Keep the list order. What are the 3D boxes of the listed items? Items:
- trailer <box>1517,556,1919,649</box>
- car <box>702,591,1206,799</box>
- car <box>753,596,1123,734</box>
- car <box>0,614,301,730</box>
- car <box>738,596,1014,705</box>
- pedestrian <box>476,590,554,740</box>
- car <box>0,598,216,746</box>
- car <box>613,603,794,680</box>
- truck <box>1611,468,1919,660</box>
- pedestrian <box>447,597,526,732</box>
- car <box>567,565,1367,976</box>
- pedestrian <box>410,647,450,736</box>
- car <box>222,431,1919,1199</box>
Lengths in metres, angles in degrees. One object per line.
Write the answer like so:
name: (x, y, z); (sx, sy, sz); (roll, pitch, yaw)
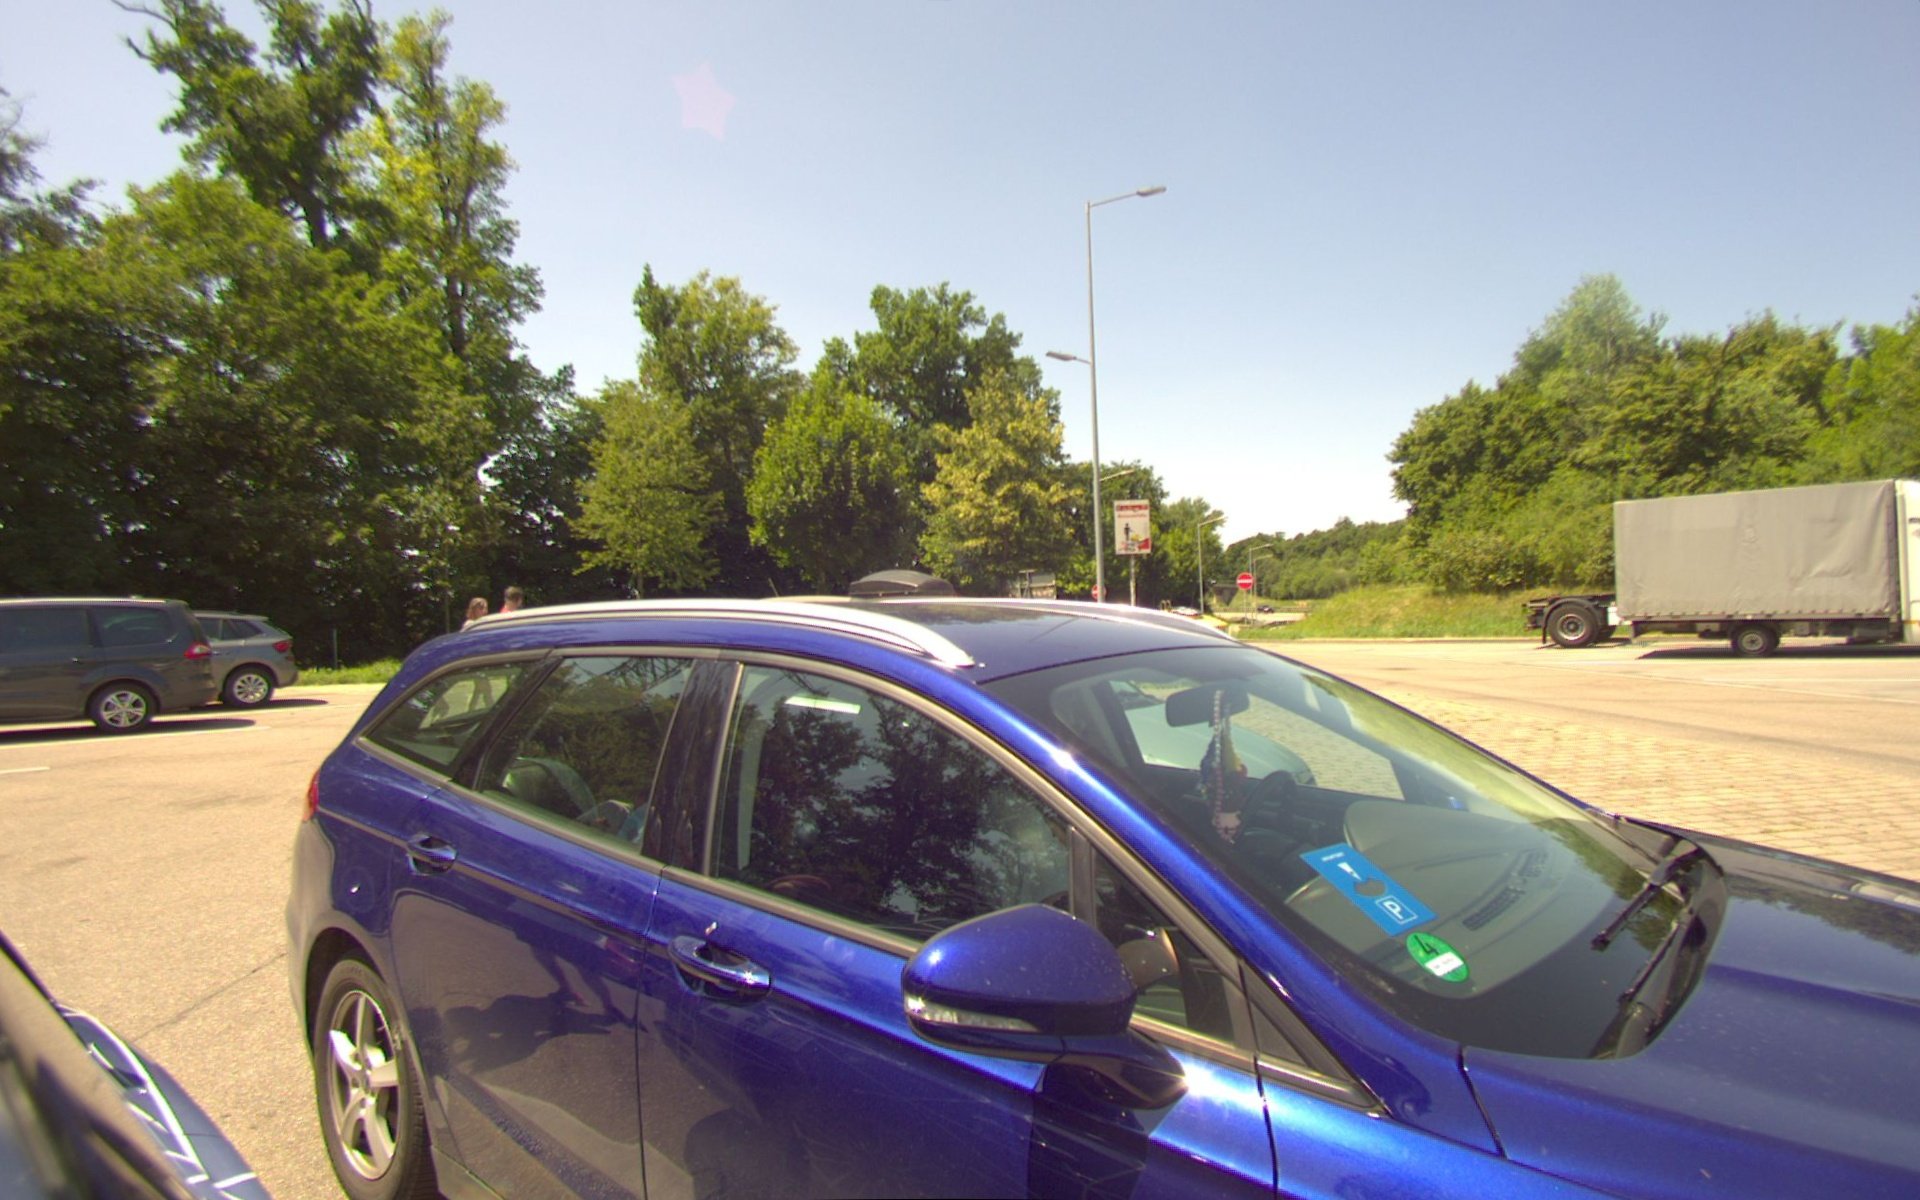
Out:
trailer: (17.254, 0.138, 23.398); (7.295, 1.701, 2.235); (-4, -1, 43)
car: (-0.247, 0.754, 9.221); (4.490, 1.437, 1.754); (-3, -1, 40)
car: (-0.387, 0.781, 12.769); (4.485, 1.437, 1.756); (-3, -1, 36)
car: (-12.598, 1.007, 15.478); (1.687, 1.515, 3.943); (-1, 0, 43)
car: (-1.478, 0.833, 16.869); (4.485, 1.562, 1.756); (-3, -1, 36)
pedestrian: (-5.388, 0.758, 12.278); (0.819, 1.746, 0.678); (-1, -1, -23)
car: (-11.944, 0.862, 12.314); (4.553, 1.725, 1.741); (0, -1, -41)
car: (-6.264, 0.941, 25.298); (1.988, 1.725, 4.580); (-1, 0, 24)
truck: (16.827, -0.644, 18.971); (7.295, 3.259, 2.709); (-4, -1, 43)
pedestrian: (-6.121, 0.804, 13.067); (0.820, 1.676, 0.678); (0, -1, -34)
car: (-0.261, 0.698, 5.847); (4.490, 1.511, 1.754); (-3, -1, 40)
pedestrian: (-6.559, 1.121, 12.518); (0.427, 1.052, 0.441); (-1, -1, -28)
car: (0.249, 0.664, 2.149); (4.490, 1.502, 1.851); (-3, 0, 40)
